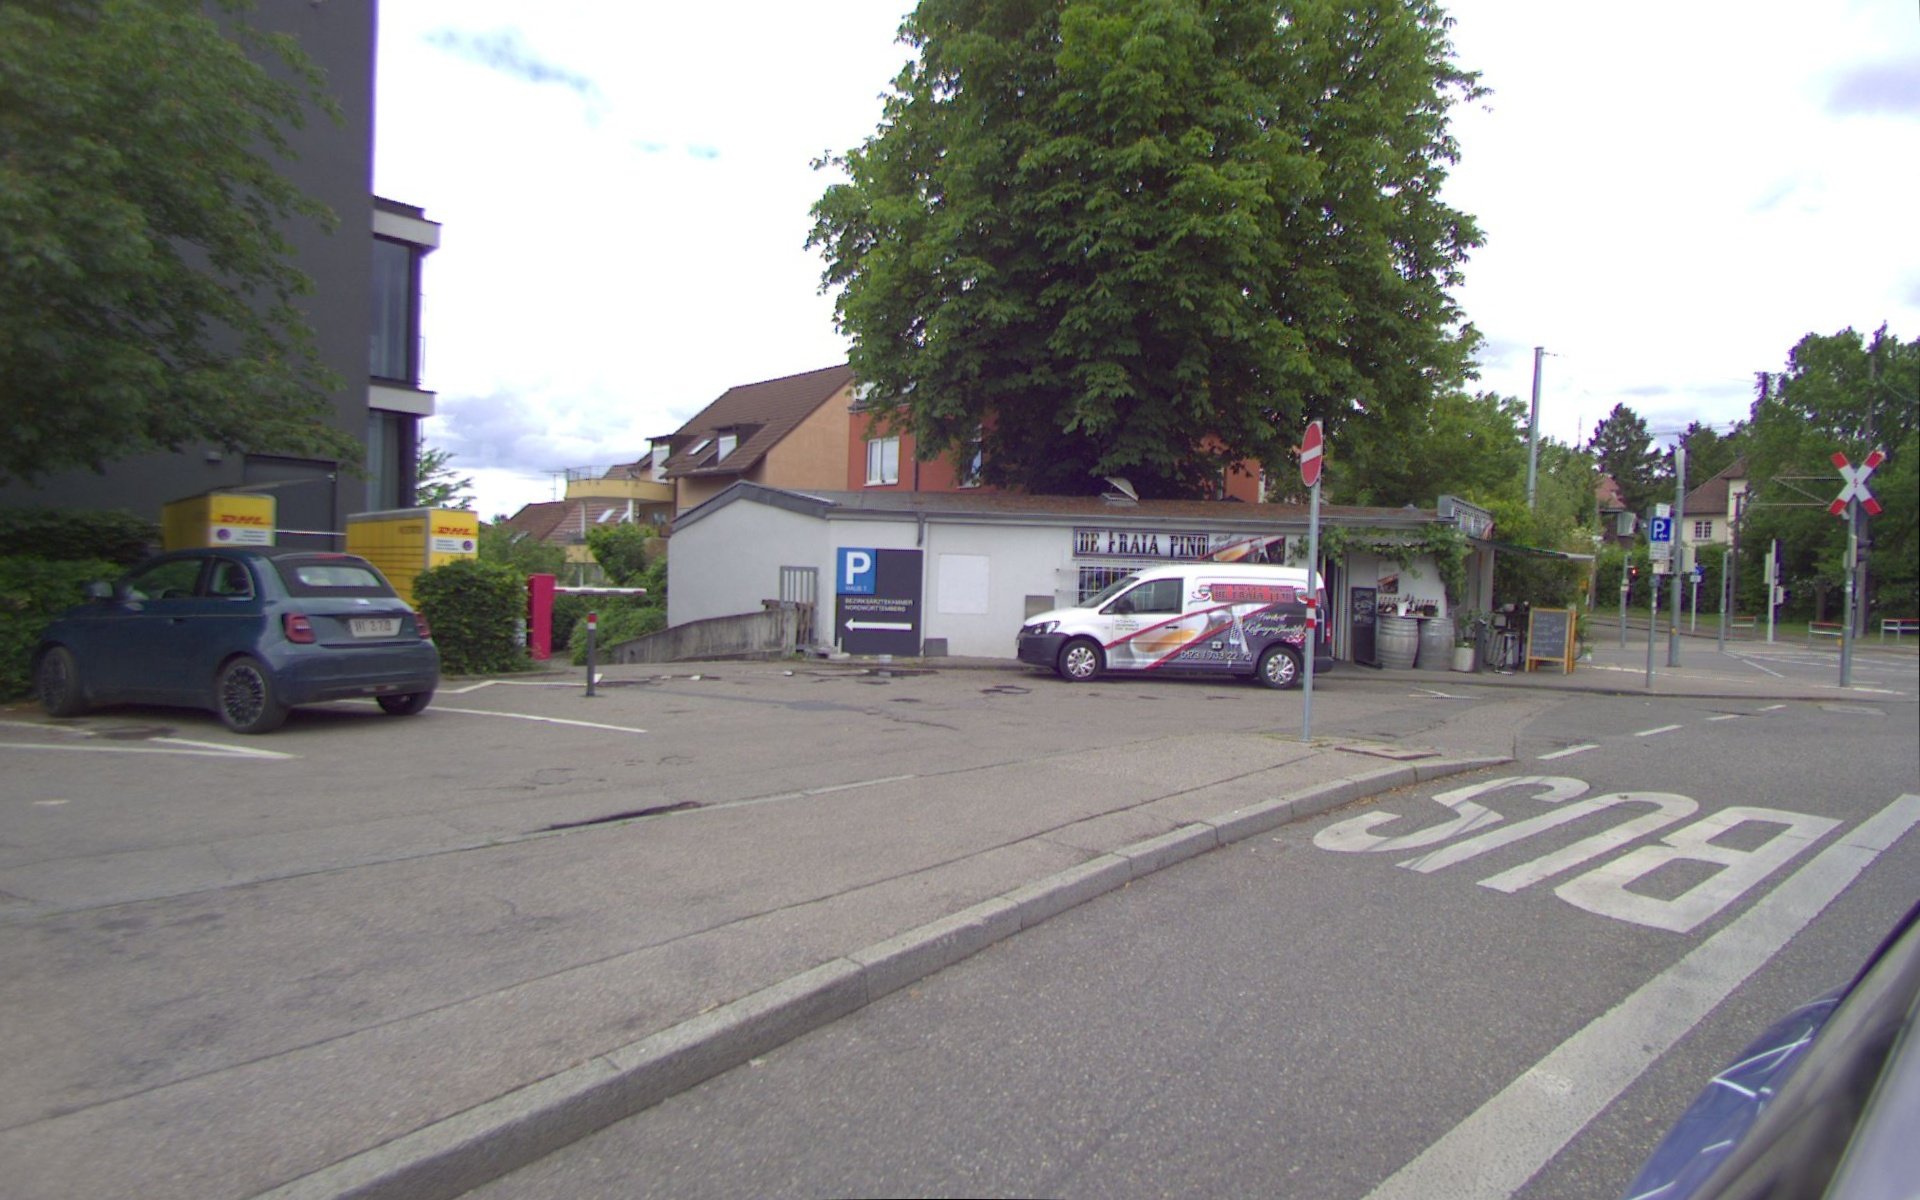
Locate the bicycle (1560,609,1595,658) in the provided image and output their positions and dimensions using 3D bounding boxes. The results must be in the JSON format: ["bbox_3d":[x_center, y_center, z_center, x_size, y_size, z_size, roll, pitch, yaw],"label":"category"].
[{"bbox_3d":[15.526,0.856,25.416,0.547,1.154,1.852,2,-3,37],"label":"bicycle"}]

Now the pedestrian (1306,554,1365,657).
[{"bbox_3d":[7.124,0.092,19.215,0.611,1.880,0.688,4,0,-24],"label":"pedestrian"}]

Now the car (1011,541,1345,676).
[{"bbox_3d":[3.208,0.109,15.523,4.604,1.770,1.853,2,1,-2],"label":"car"}]

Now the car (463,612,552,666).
[{"bbox_3d":[-13.838,1.146,31.179,1.736,1.467,3.869,1,0,-12],"label":"car"}]

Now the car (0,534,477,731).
[{"bbox_3d":[-6.758,0.201,9.364,3.948,1.495,1.869,2,1,19],"label":"car"}]
